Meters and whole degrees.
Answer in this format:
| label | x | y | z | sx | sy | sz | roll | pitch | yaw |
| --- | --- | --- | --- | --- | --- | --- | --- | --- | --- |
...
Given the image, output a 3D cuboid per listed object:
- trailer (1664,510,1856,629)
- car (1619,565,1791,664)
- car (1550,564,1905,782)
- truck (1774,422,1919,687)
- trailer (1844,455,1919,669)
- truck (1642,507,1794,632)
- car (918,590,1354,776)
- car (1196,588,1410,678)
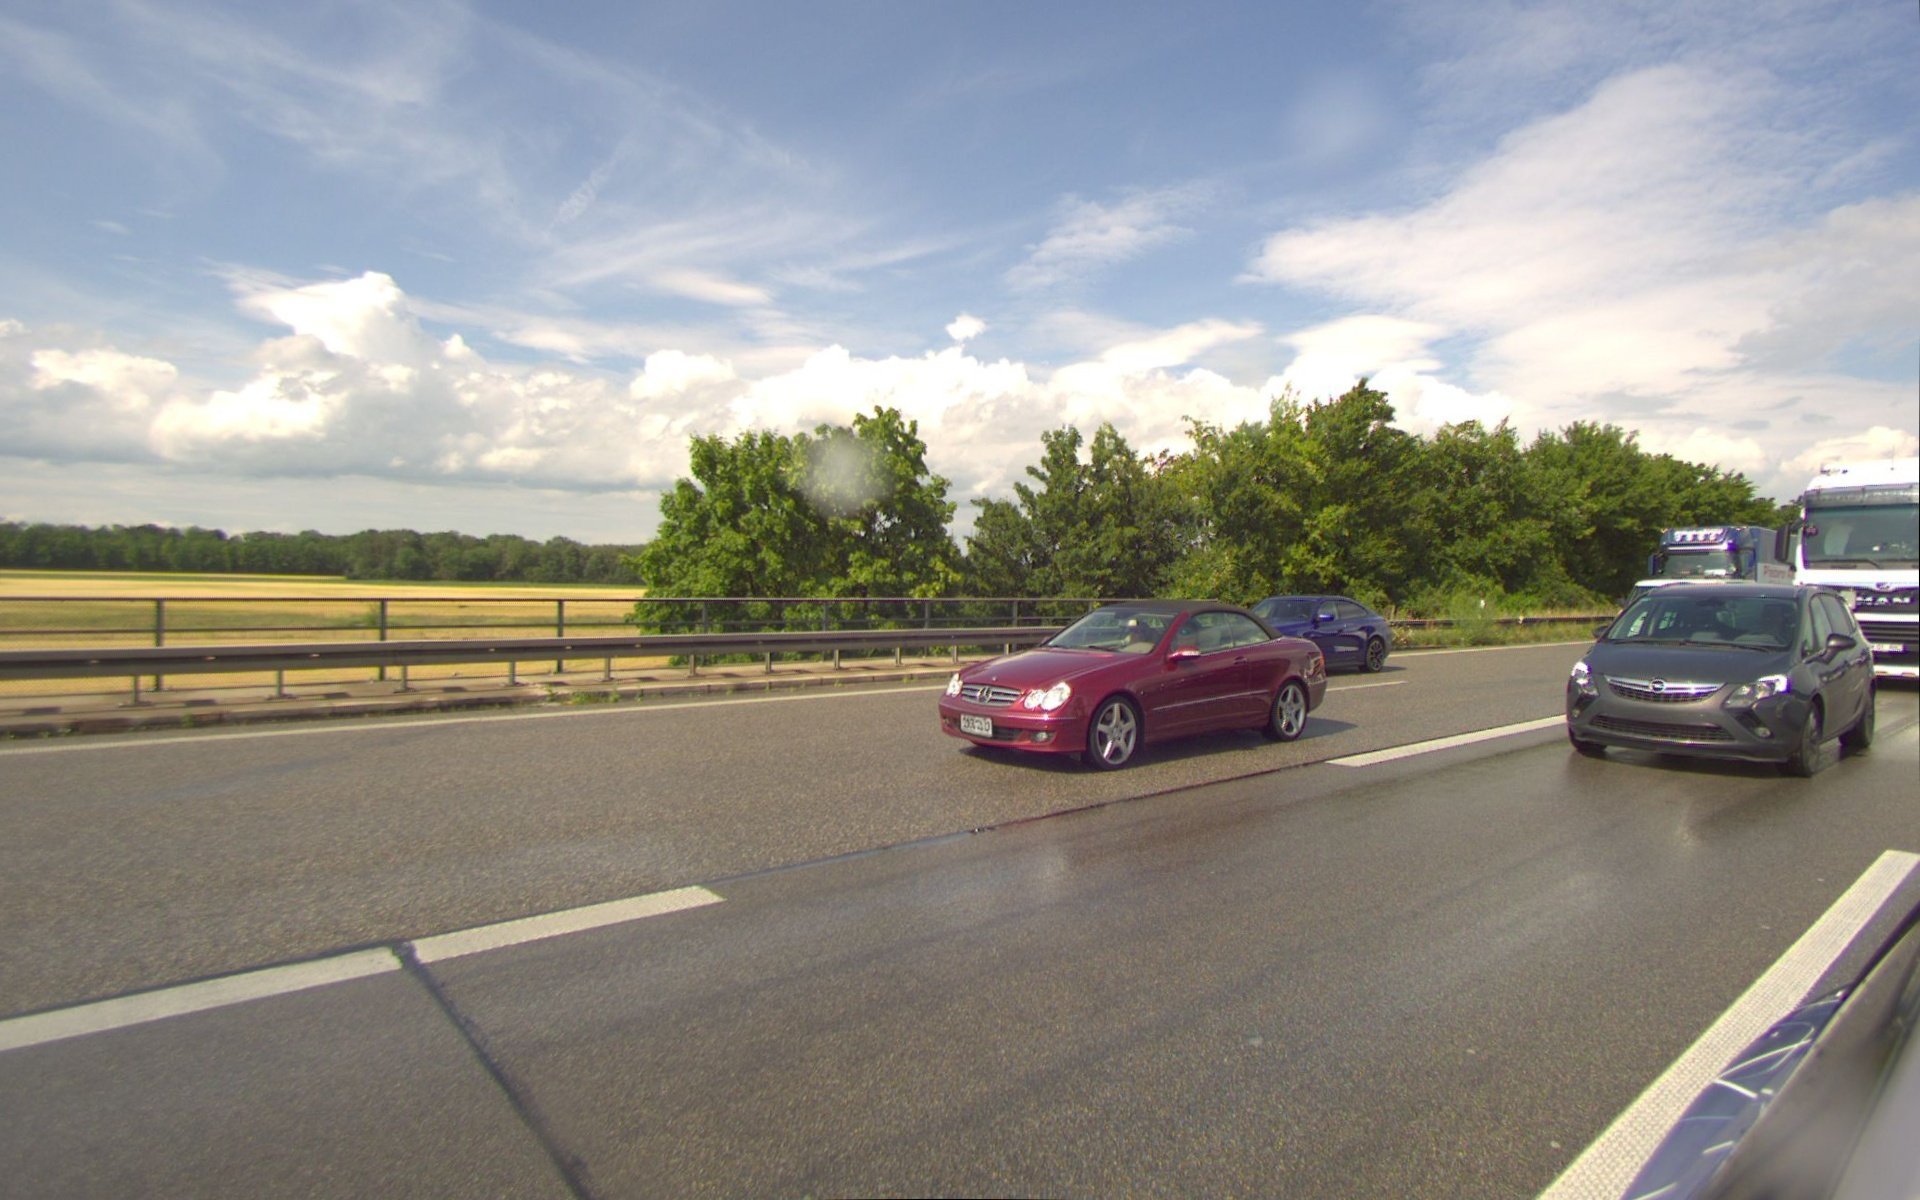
| label | x | y | z | sx | sy | sz | roll | pitch | yaw |
| --- | --- | --- | --- | --- | --- | --- | --- | --- | --- |
| trailer | 32.439 | -1.155 | 40.569 | 16.057 | 4.003 | 3.110 | -1 | 1 | -41 |
| car | 16.294 | 0.247 | 22.031 | 5.077 | 1.909 | 1.953 | 0 | 1 | -41 |
| car | 7.604 | 0.538 | 9.868 | 4.319 | 1.668 | 1.882 | 0 | 1 | -41 |
| truck | 17.617 | -0.741 | 18.470 | 7.311 | 4.158 | 2.817 | 0 | 0 | -39 |
| trailer | 23.143 | -0.775 | 22.933 | 11.331 | 4.158 | 2.789 | 0 | 0 | -39 |
| truck | 26.695 | -1.053 | 35.560 | 5.764 | 4.003 | 3.110 | -1 | 1 | -41 |
| car | 1.880 | 0.627 | 9.883 | 4.430 | 1.428 | 1.755 | 0 | 0 | -40 |
| car | 6.480 | 0.519 | 18.874 | 4.427 | 1.481 | 1.790 | 0 | 0 | -41 |
